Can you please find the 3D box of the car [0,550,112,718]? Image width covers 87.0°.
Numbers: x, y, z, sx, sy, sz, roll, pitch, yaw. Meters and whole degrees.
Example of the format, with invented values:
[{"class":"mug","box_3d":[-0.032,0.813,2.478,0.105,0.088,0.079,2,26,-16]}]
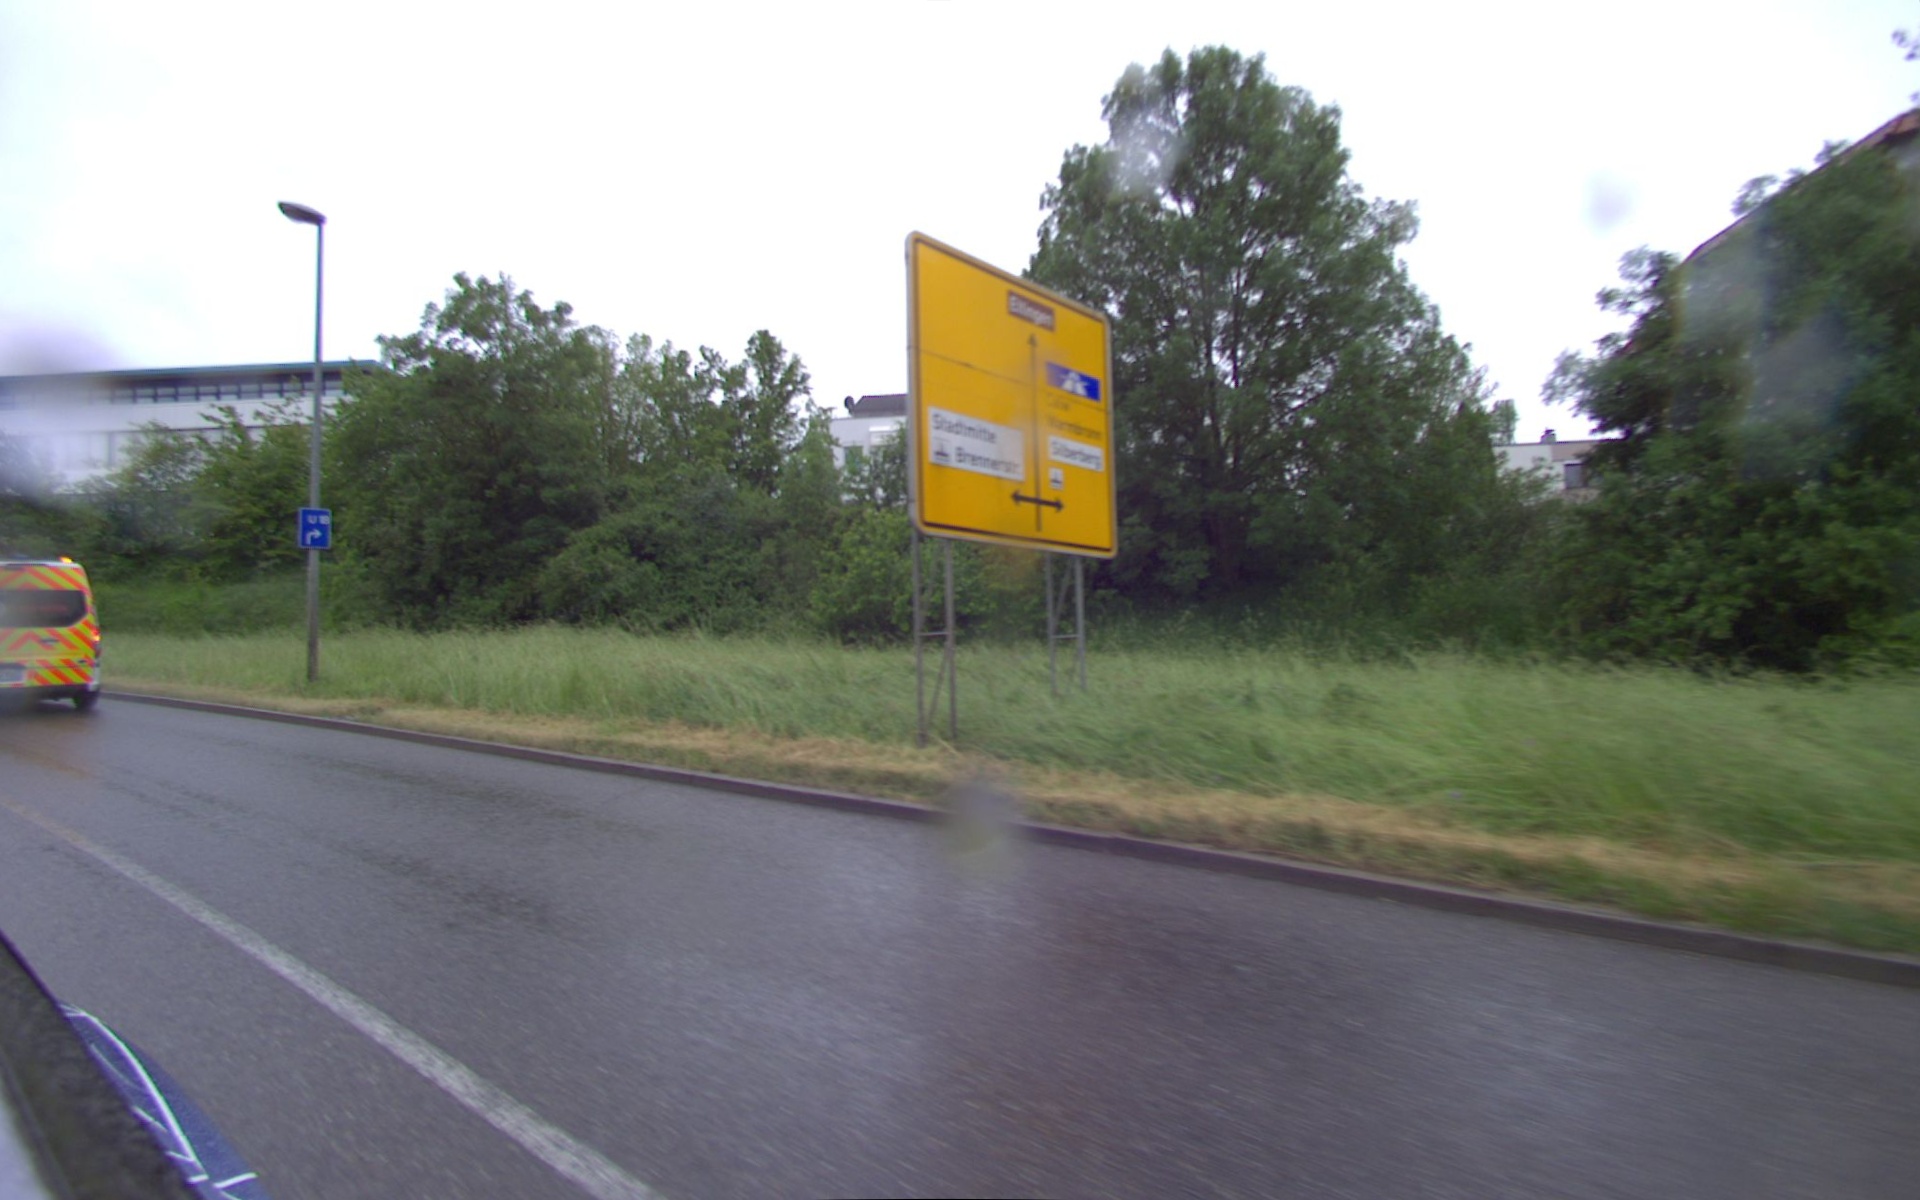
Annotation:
[{"class":"car","box_3d":[-15.982,0.515,16.512,5.444,2.436,2.027,-1,0,36]}]
